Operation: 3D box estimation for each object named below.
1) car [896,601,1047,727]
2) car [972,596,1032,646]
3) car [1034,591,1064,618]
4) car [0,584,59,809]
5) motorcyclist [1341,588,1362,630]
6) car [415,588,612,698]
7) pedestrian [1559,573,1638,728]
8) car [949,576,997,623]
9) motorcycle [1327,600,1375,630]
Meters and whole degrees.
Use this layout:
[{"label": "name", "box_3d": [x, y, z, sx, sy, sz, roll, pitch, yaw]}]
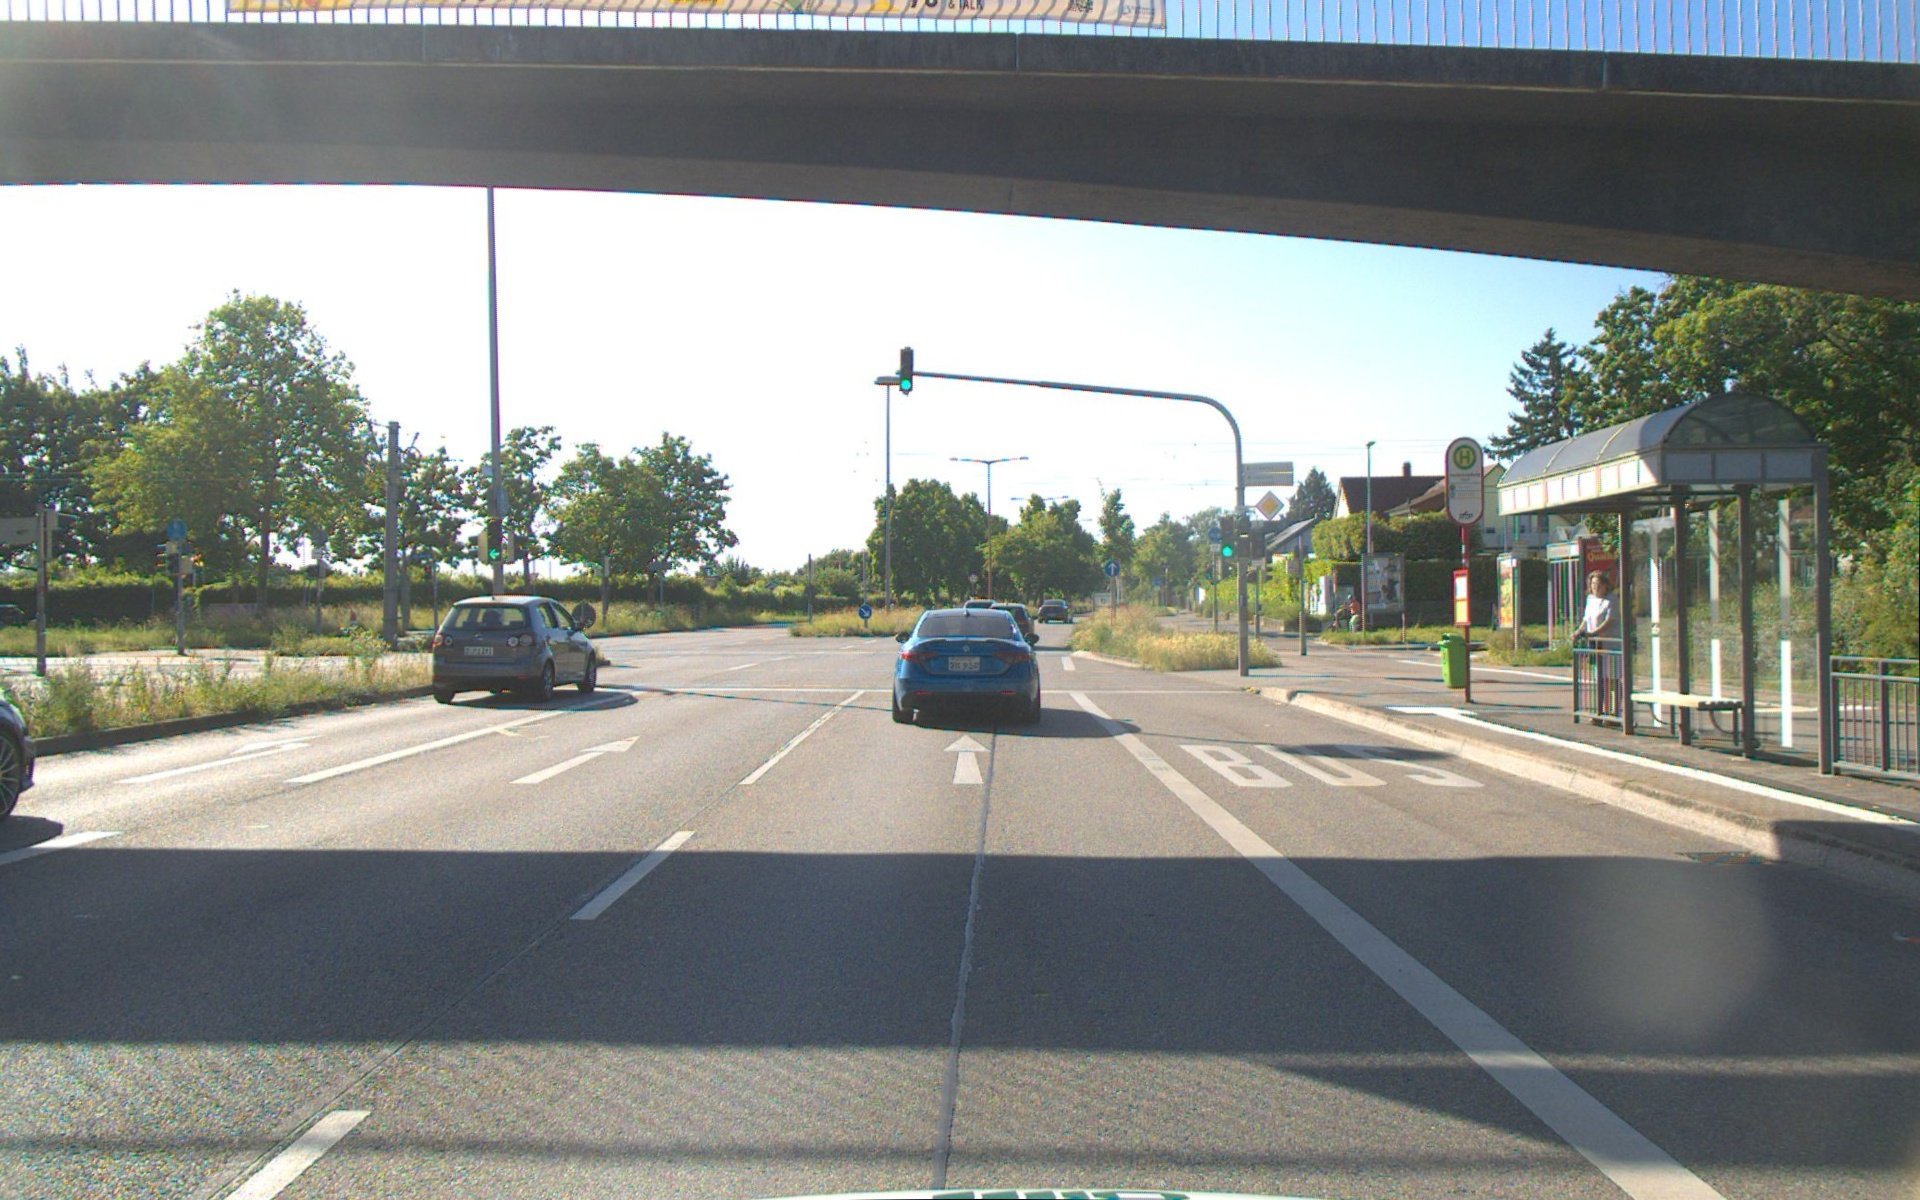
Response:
[{"label": "car", "box_3d": [0.149, 0.769, 21.945, 1.801, 1.500, 4.184, 1, 0, 0]}, {"label": "car", "box_3d": [1.469, 0.695, 56.198, 1.875, 1.607, 4.184, 0, 0, 3]}, {"label": "car", "box_3d": [5.566, 0.290, 103.270, 1.625, 1.607, 3.811, 0, 0, 6]}, {"label": "car", "box_3d": [-7.281, 0.642, 9.542, 1.738, 1.512, 4.528, 0, 0, -1]}, {"label": "motorcyclist", "box_3d": [14.733, 0.337, 62.212, 0.678, 1.585, 0.700, -1, -1, 7]}, {"label": "car", "box_3d": [-6.988, 0.653, 26.360, 1.803, 1.598, 4.387, 0, -1, 2]}, {"label": "pedestrian", "box_3d": [7.141, 0.554, 18.517, 0.576, 1.691, 0.716, -1, 0, -2]}, {"label": "car", "box_3d": [0.620, -0.019, 75.028, 1.755, 2.049, 4.003, 0, 0, 6]}, {"label": "motorcycle", "box_3d": [14.691, 0.569, 62.162, 1.718, 1.090, 0.452, -1, 0, 7]}]
